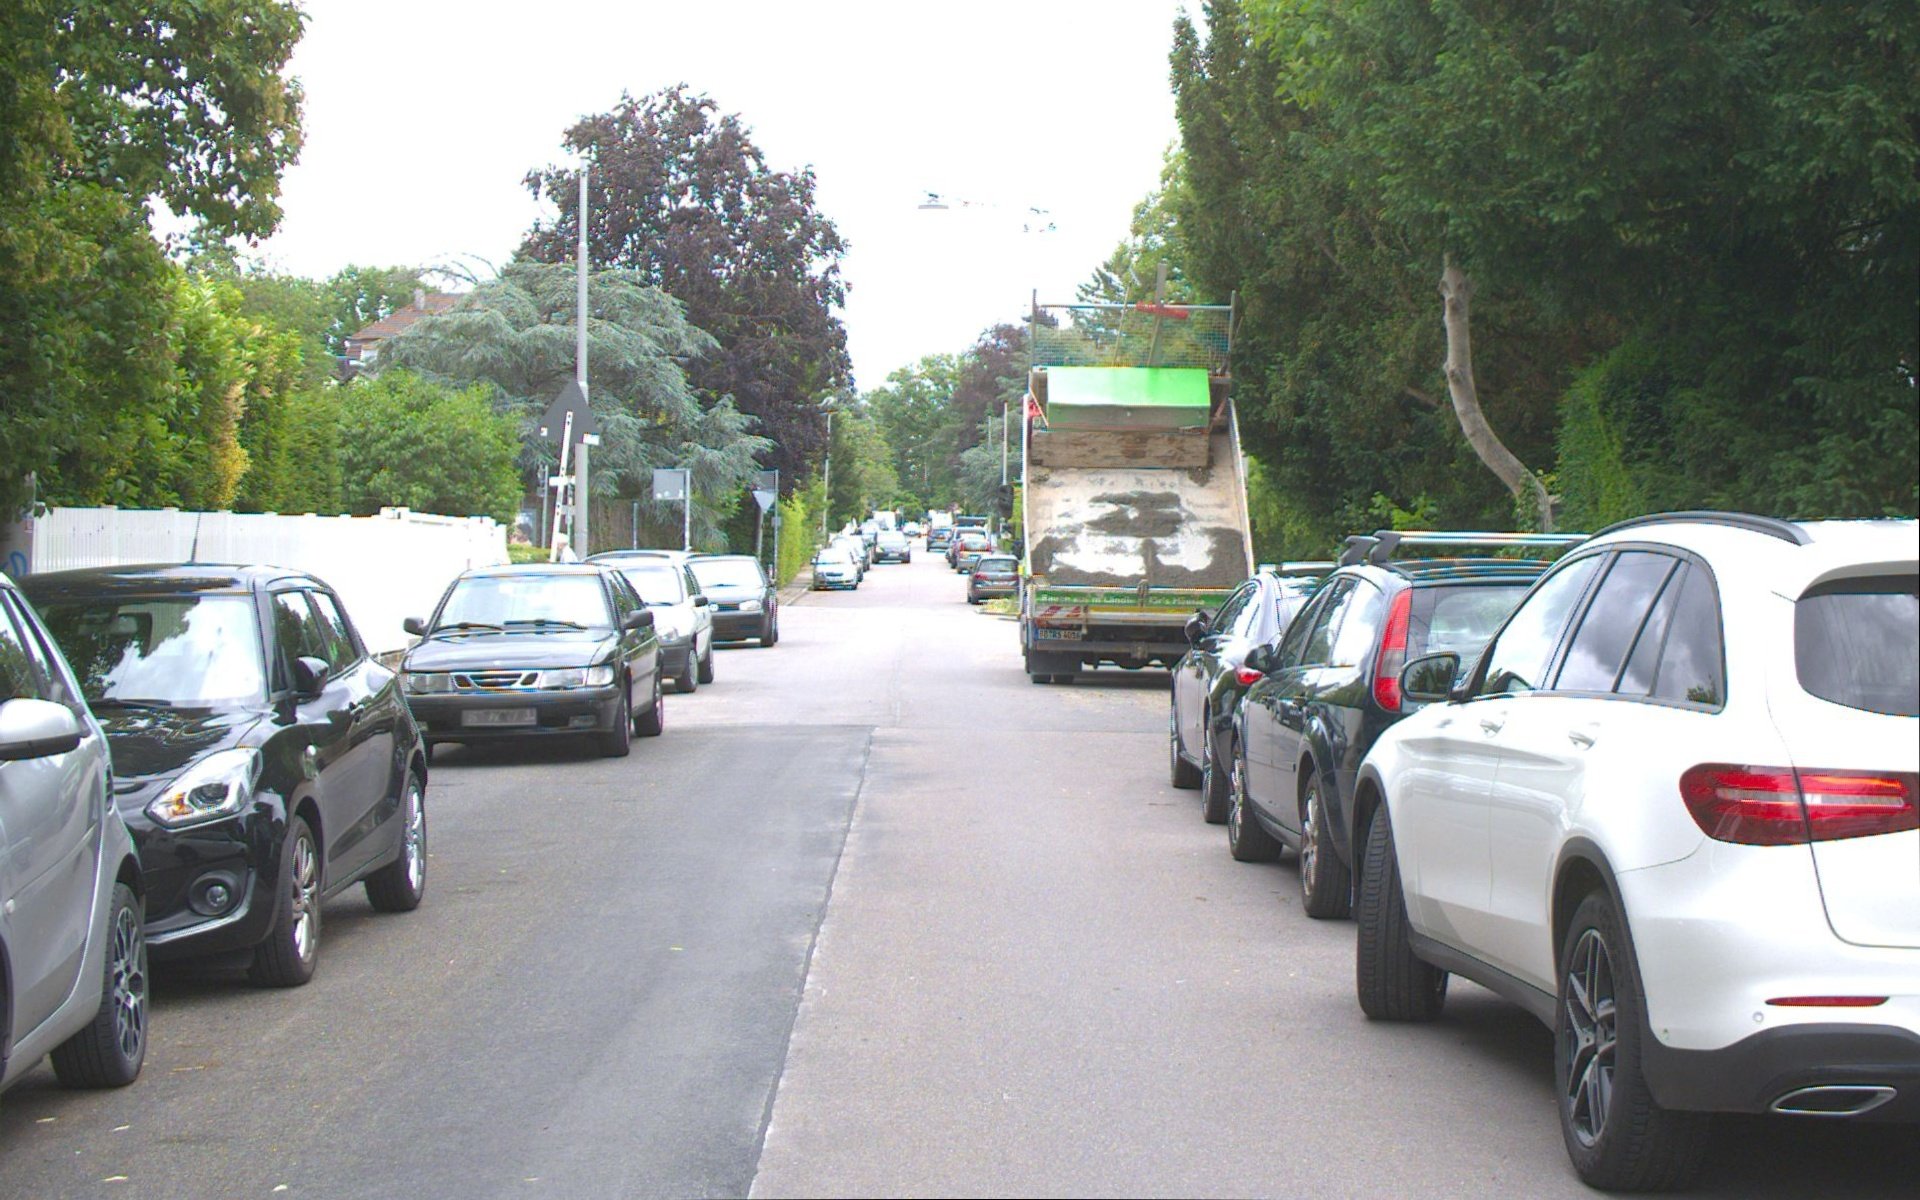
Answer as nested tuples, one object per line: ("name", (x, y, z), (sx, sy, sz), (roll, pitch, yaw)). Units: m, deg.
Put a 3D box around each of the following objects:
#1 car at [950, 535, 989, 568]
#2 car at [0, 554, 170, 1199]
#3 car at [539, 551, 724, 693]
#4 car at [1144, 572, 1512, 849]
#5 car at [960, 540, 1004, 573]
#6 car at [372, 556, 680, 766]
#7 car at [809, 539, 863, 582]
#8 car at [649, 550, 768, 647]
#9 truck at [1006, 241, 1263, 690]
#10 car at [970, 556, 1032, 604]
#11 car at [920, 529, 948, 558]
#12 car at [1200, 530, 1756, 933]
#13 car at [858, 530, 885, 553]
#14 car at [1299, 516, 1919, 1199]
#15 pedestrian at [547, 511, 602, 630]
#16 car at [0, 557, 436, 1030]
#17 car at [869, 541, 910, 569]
("car", (0.481, -2.325, 163.139), (1.789, 1.524, 3.734), (1, 1, 1))
("car", (-3.109, 0.674, 8.804), (1.621, 1.528, 2.963), (-2, 1, -4))
("car", (-3.541, 0.201, 37.652), (1.596, 1.428, 4.000), (-1, 1, 0))
("car", (2.097, 0.574, 20.747), (1.652, 1.419, 4.661), (2, 1, 0))
("car", (0.970, -1.970, 153.600), (1.810, 1.331, 3.633), (2, 2, -1))
("car", (-3.235, 0.399, 26.424), (1.641, 1.417, 4.549), (-2, 1, 1))
("car", (-4.666, -1.489, 129.911), (1.711, 1.580, 4.000), (1, 1, 2))
("car", (-3.849, -0.058, 53.159), (1.637, 1.390, 3.989), (-2, 1, -2))
("truck", (1.910, -1.482, 40.289), (2.524, 4.732, 7.187), (2, 1, 0))
("car", (1.296, -0.645, 109.993), (1.778, 1.484, 4.000), (1, 1, -2))
("car", (-1.567, -3.437, 208.642), (1.633, 1.695, 3.495), (1, 1, -1))
("car", (2.169, 0.484, 15.529), (1.698, 1.565, 4.309), (0, 1, -2))
("car", (-5.633, -3.699, 218.342), (1.626, 1.381, 3.599), (2, 1, -1))
("car", (2.236, 0.611, 9.643), (1.757, 1.600, 4.576), (2, 1, -4))
("pedestrian", (-6.624, -0.506, 59.113), (0.852, 2.007, 0.701), (2, 0, -5))
("car", (-3.138, 0.617, 13.062), (1.655, 1.476, 3.888), (-2, 1, 0))
("car", (-3.551, -2.271, 173.954), (1.728, 1.402, 3.803), (1, 1, 3))
